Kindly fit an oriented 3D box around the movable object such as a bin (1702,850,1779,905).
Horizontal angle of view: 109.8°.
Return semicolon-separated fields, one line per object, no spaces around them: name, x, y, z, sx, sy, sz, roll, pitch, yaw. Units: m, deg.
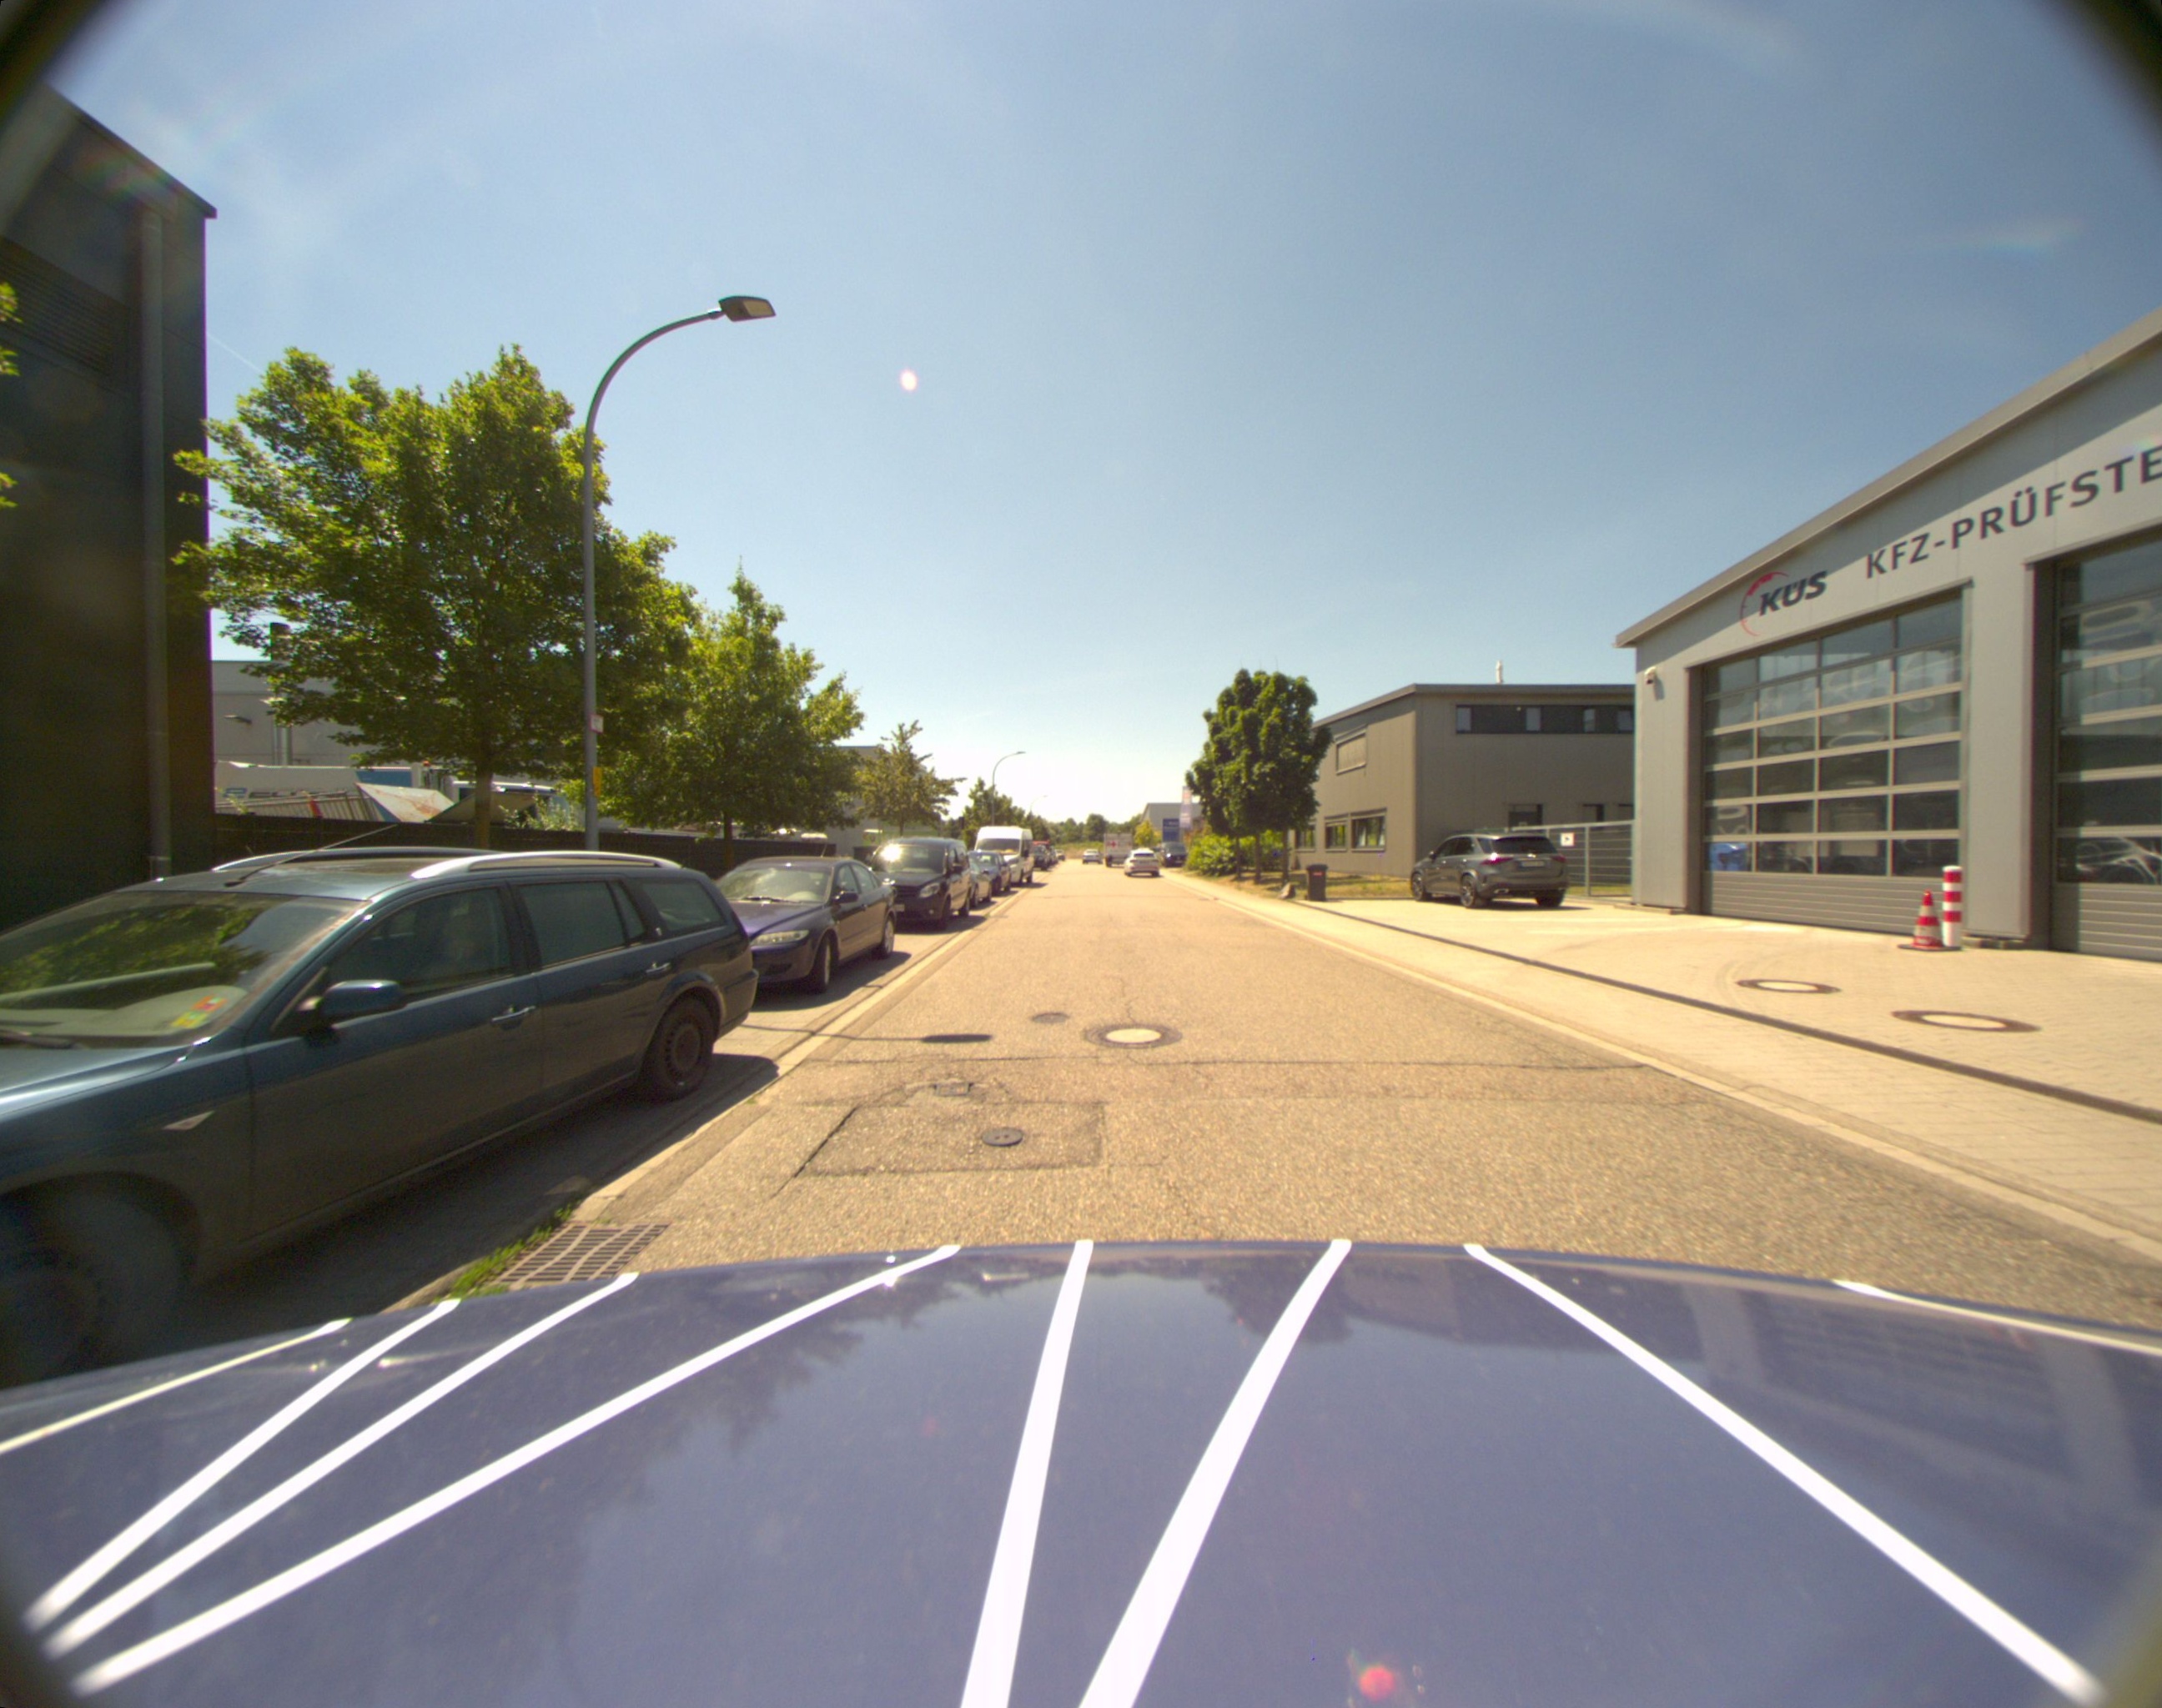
movable object such as a bin;17.703;0.626;20.418;1.025;1.407;1.149;-2;0;-3

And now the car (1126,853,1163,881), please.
car;3.529;0.718;42.858;1.734;1.450;4.491;-1;0;0

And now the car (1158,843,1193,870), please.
car;7.199;0.198;58.373;1.998;1.945;5.217;-1;0;0

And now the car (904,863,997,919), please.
car;-3.460;0.938;20.916;1.715;1.280;4.115;0;1;2

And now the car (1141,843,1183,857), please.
car;8.464;-0.375;79.676;4.319;1.423;1.846;0;0;1

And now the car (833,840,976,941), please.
car;-3.475;0.636;15.864;1.999;1.815;4.353;0;1;0

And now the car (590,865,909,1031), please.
car;-3.590;0.898;9.370;1.855;1.423;4.712;0;1;0

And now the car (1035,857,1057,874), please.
car;-3.214;1.036;70.173;1.702;1.375;4.837;2;0;0

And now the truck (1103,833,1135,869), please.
truck;3.156;-0.236;64.270;2.367;2.843;6.414;2;0;1

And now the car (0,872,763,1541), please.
car;-3.356;0.902;3.200;1.712;1.496;4.707;0;1;5

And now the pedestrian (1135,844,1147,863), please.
pedestrian;4.992;-0.044;63.408;0.901;1.565;0.785;-2;0;1

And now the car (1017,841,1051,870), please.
car;-3.260;0.074;53.260;1.998;1.874;5.155;1;0;0

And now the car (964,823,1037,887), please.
car;-3.329;0.045;32.758;2.273;2.483;6.152;0;0;2

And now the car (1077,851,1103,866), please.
car;0.910;0.413;74.124;1.786;1.414;4.417;0;0;10

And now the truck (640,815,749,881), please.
truck;-23.309;-0.390;46.008;5.075;3.853;2.803;0;1;1

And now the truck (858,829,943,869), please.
truck;-13.599;-0.365;57.418;5.836;2.896;2.414;0;1;-1

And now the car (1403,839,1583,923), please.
car;9.847;0.610;18.712;1.998;1.725;4.915;-2;-1;4

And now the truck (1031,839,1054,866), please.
truck;-3.272;-0.150;64.649;1.683;2.169;4.389;2;0;0

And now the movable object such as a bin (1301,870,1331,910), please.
movable object such as a bin;6.569;1.010;21.275;0.580;1.059;0.765;-2;1;0

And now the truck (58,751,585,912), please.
truck;-19.534;-0.500;20.370;10.012;3.800;3.034;0;1;-10

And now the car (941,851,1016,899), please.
car;-3.436;0.677;26.326;1.833;1.485;4.478;0;0;2

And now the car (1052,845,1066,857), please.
car;-3.203;-0.447;110.402;1.809;1.626;4.458;1;0;0

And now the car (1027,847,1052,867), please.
car;-3.259;0.214;60.185;1.743;1.522;3.999;2;0;-1

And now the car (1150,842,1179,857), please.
car;8.498;-0.431;77.188;2.748;1.509;1.535;0;0;-1
